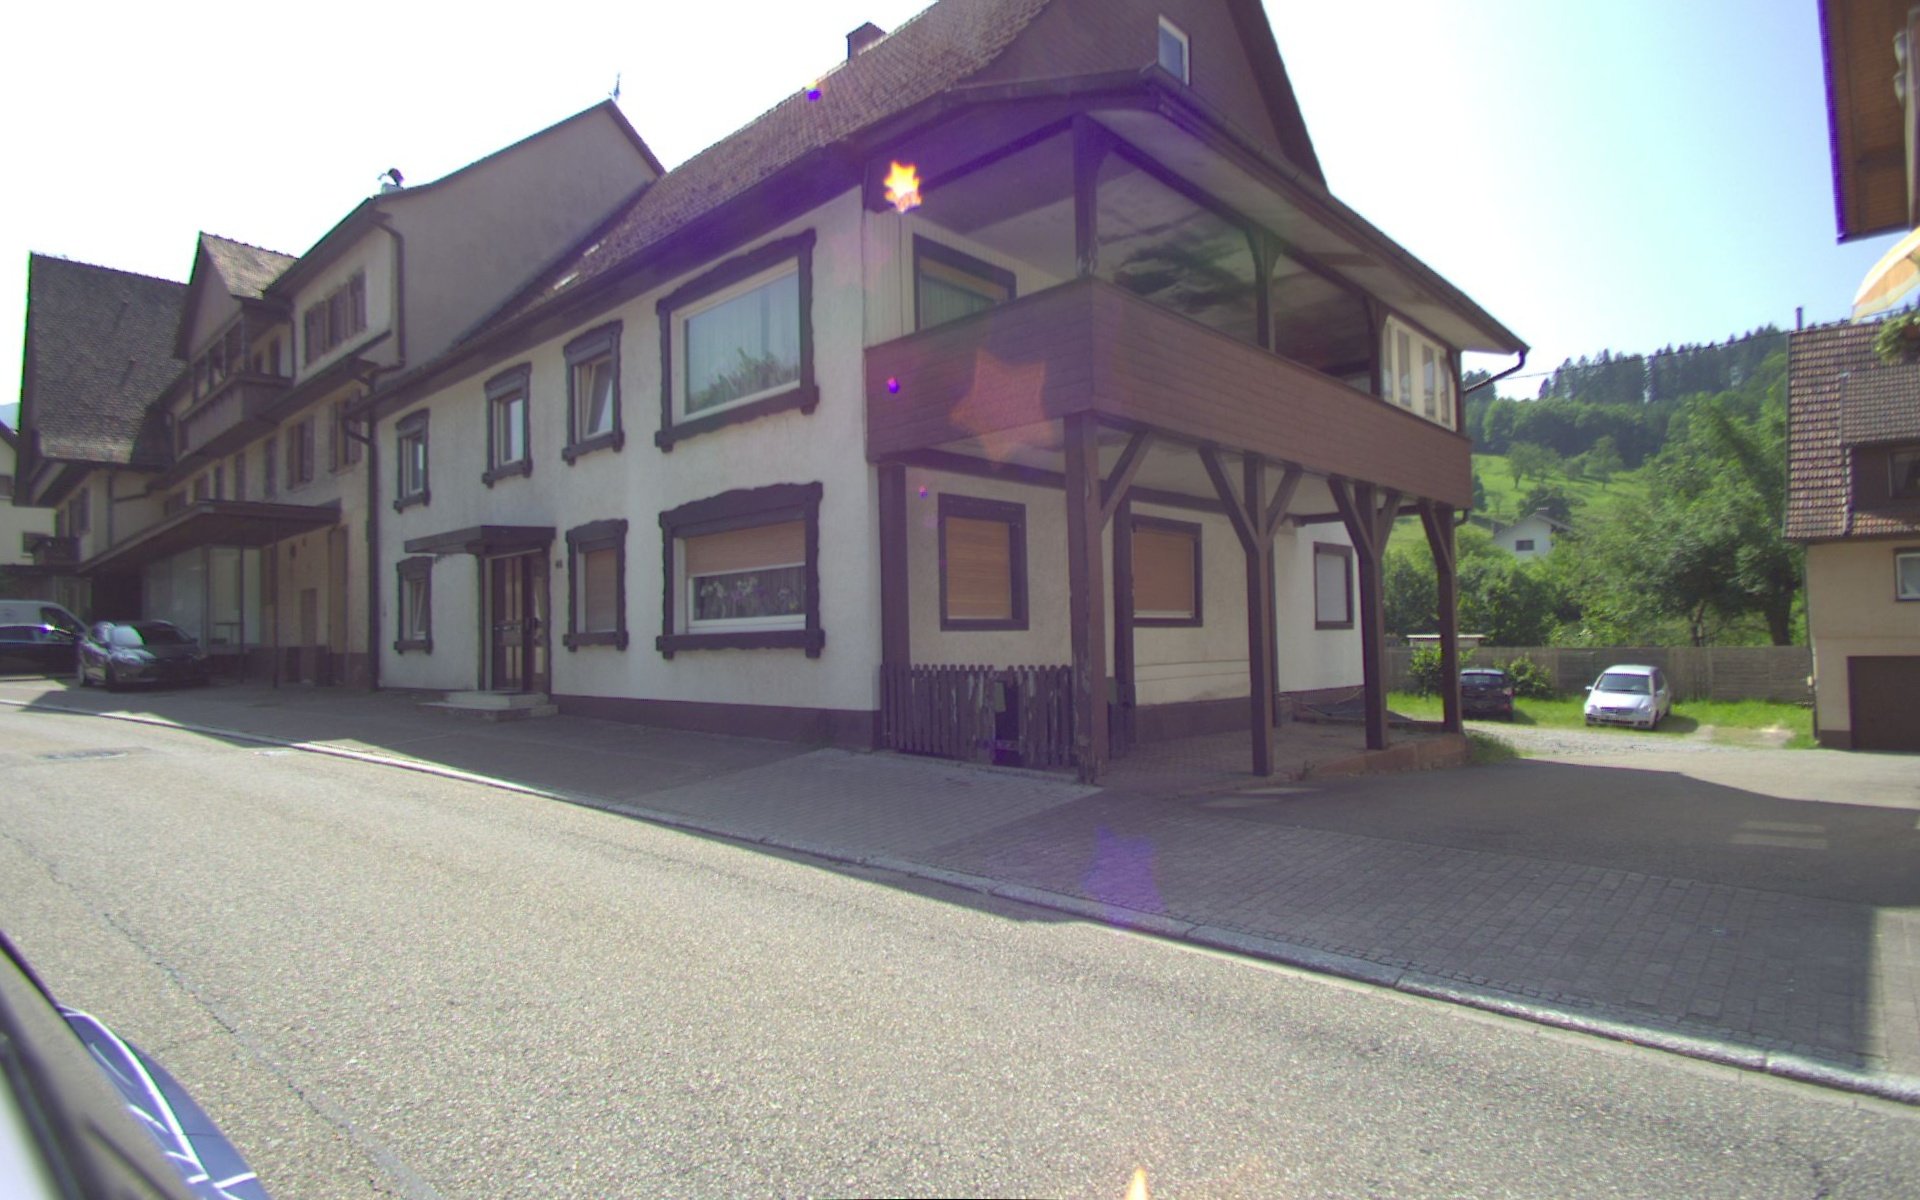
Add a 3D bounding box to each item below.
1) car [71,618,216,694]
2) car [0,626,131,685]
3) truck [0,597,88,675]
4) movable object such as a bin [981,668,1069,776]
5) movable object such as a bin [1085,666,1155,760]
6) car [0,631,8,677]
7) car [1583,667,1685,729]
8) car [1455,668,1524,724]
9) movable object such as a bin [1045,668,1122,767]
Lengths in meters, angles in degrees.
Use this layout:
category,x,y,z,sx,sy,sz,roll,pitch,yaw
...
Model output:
category,x,y,z,sx,sy,sz,roll,pitch,yaw
car,-18.670,1.222,23.073,4.281,1.565,1.752,-2,-1,39
car,-24.891,1.446,26.966,1.752,1.514,4.053,-2,-2,40
truck,-28.831,1.066,30.072,1.996,2.283,4.128,-1,-1,36
movable object such as a bin,0.687,1.261,10.684,0.696,1.059,0.615,-2,-4,41
movable object such as a bin,1.899,1.321,12.005,0.600,1.059,0.592,-2,-4,41
car,-32.652,1.674,31.657,1.625,1.464,3.949,-2,-4,37
car,19.901,2.886,29.831,3.618,1.667,1.743,6,-5,-44
car,16.033,2.867,30.768,1.655,1.572,3.437,0,-4,25
movable object such as a bin,1.396,1.306,11.457,0.632,1.059,0.600,-2,-4,41
